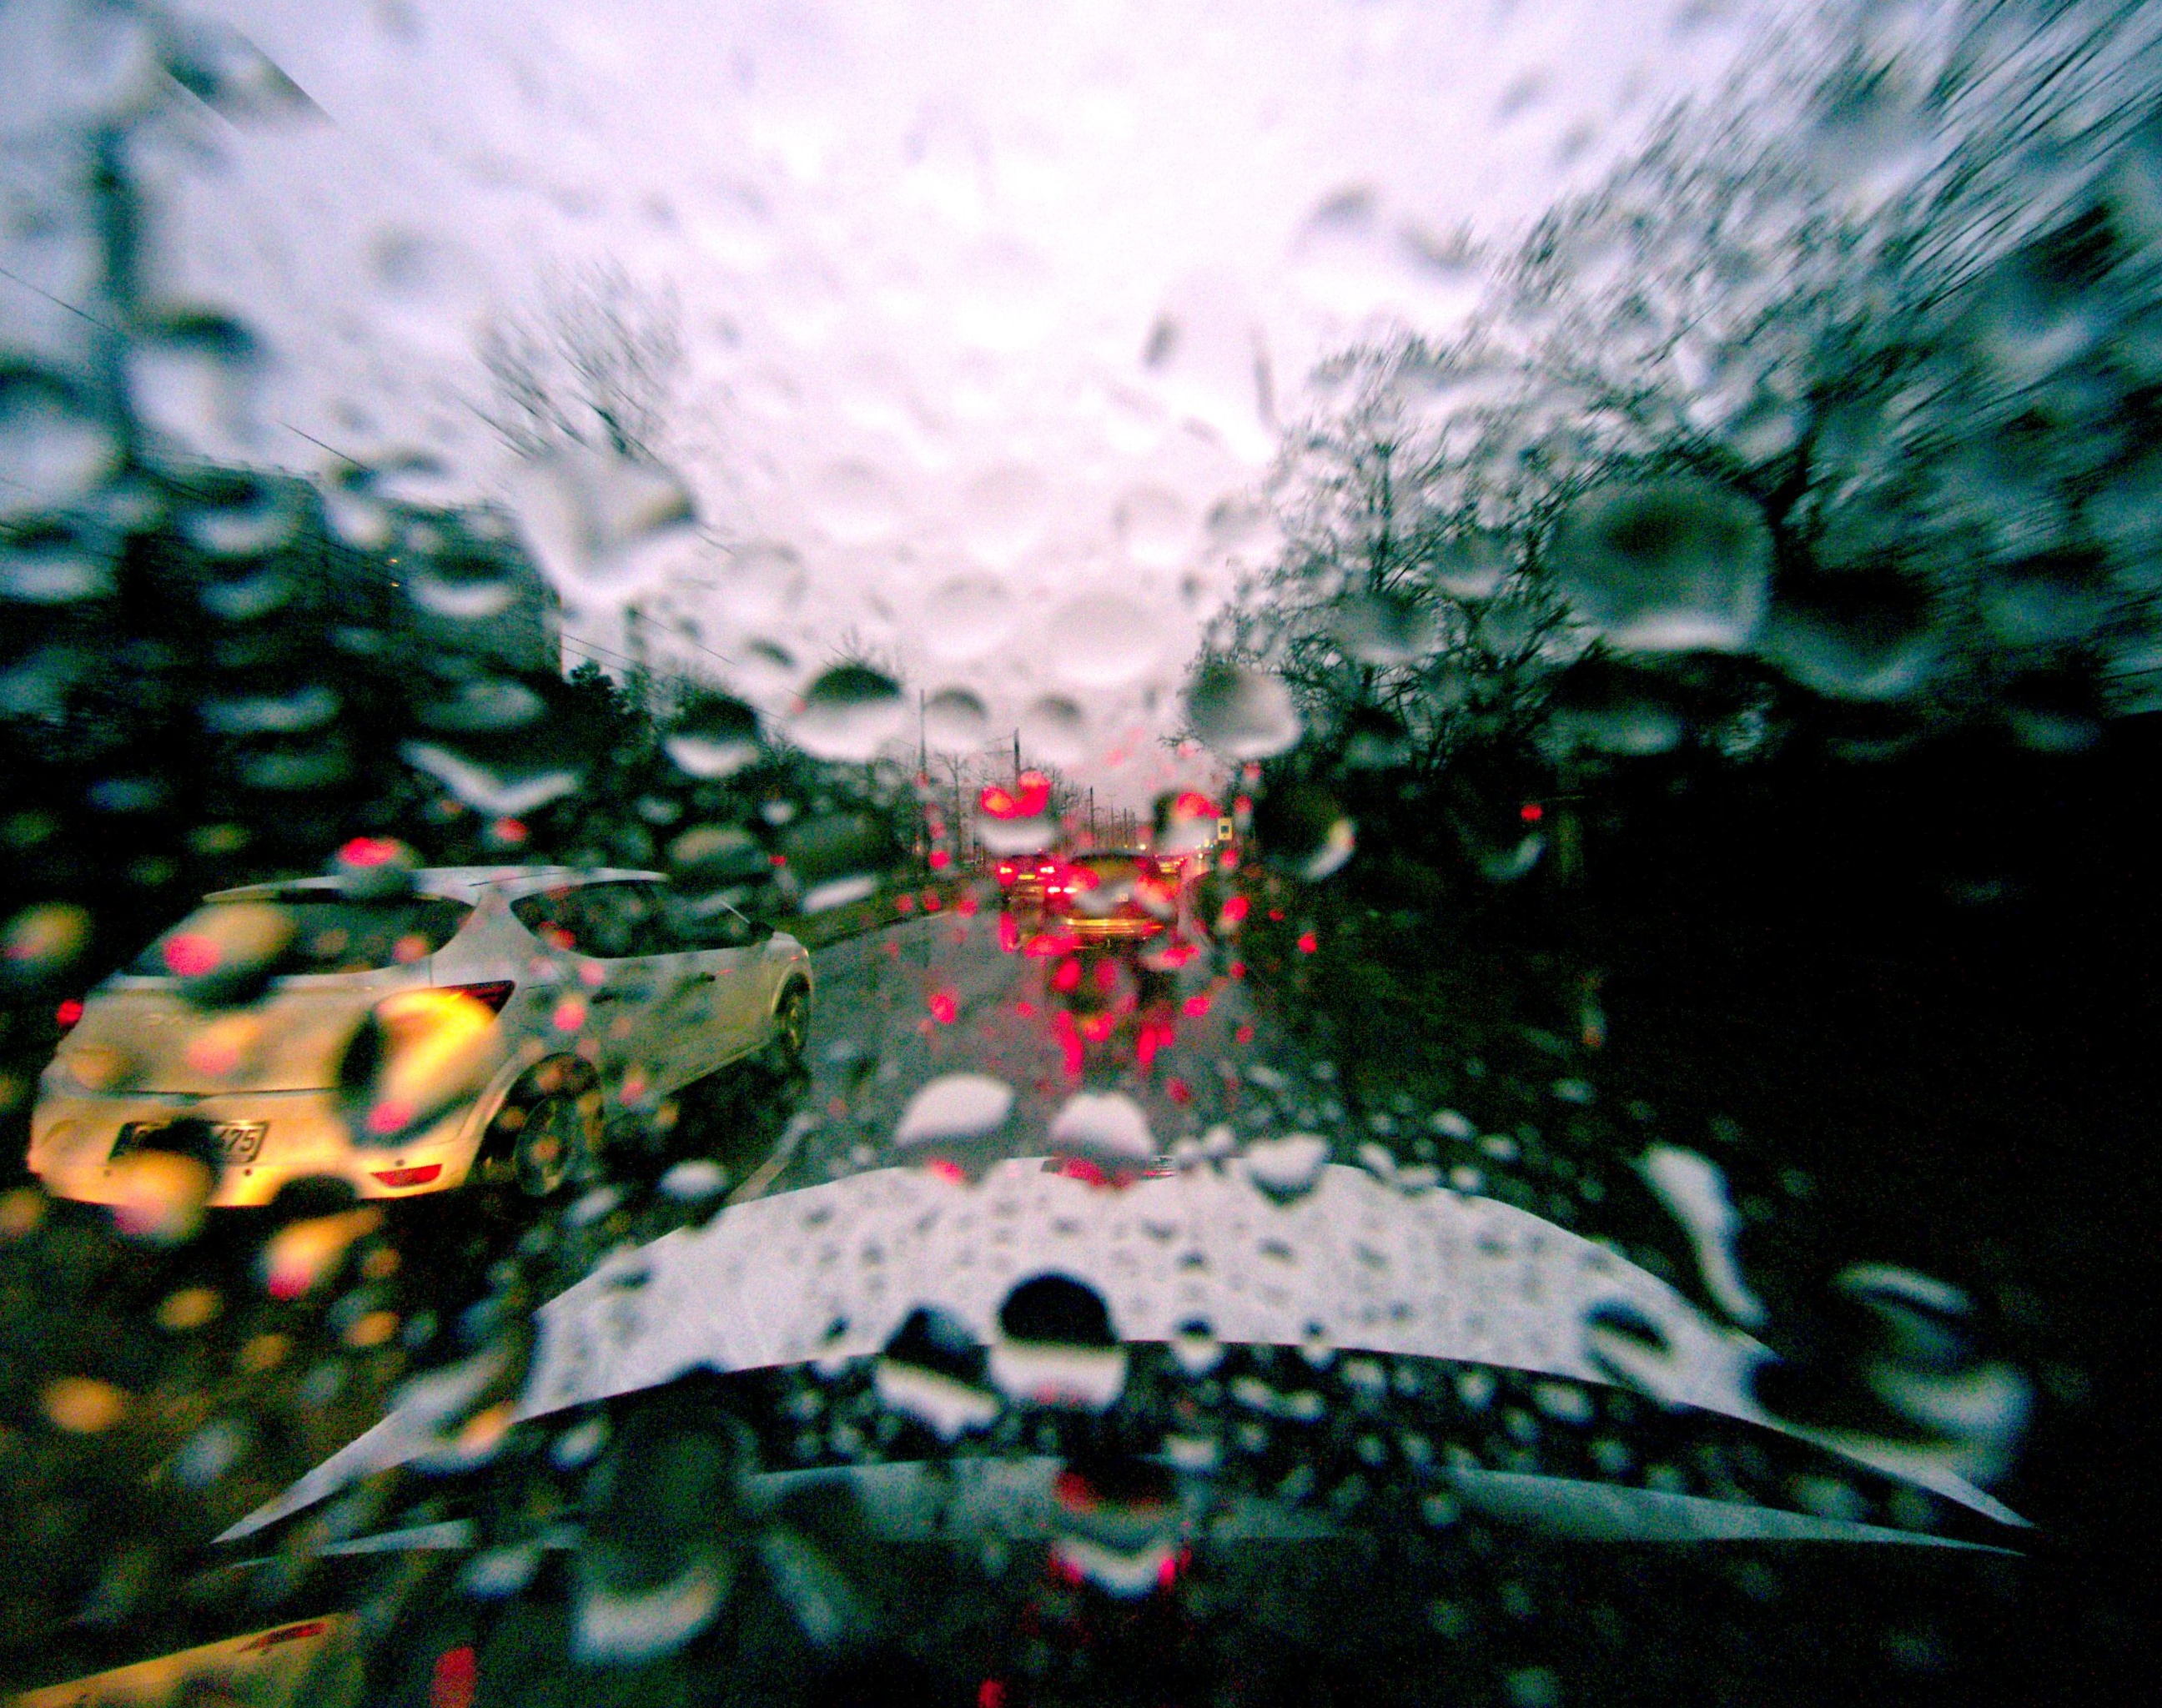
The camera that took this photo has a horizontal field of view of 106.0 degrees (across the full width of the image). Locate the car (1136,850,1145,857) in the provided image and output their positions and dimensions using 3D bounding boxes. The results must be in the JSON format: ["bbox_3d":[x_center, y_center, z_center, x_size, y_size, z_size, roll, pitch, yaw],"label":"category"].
[{"bbox_3d":[14.939,-0.214,203.205,1.982,1.666,3.845,-2,0,8],"label":"car"}]

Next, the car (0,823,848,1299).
[{"bbox_3d":[-2.968,0.687,4.736,1.701,1.525,4.140,-2,0,5],"label":"car"}]

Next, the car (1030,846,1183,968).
[{"bbox_3d":[0.388,0.688,12.739,1.991,1.584,4.001,-1,0,1],"label":"car"}]

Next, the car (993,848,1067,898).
[{"bbox_3d":[-1.566,0.559,26.491,1.872,1.459,4.004,-2,0,3],"label":"car"}]

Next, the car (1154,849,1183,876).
[{"bbox_3d":[5.420,0.507,50.446,1.700,1.558,4.002,-2,0,6],"label":"car"}]
